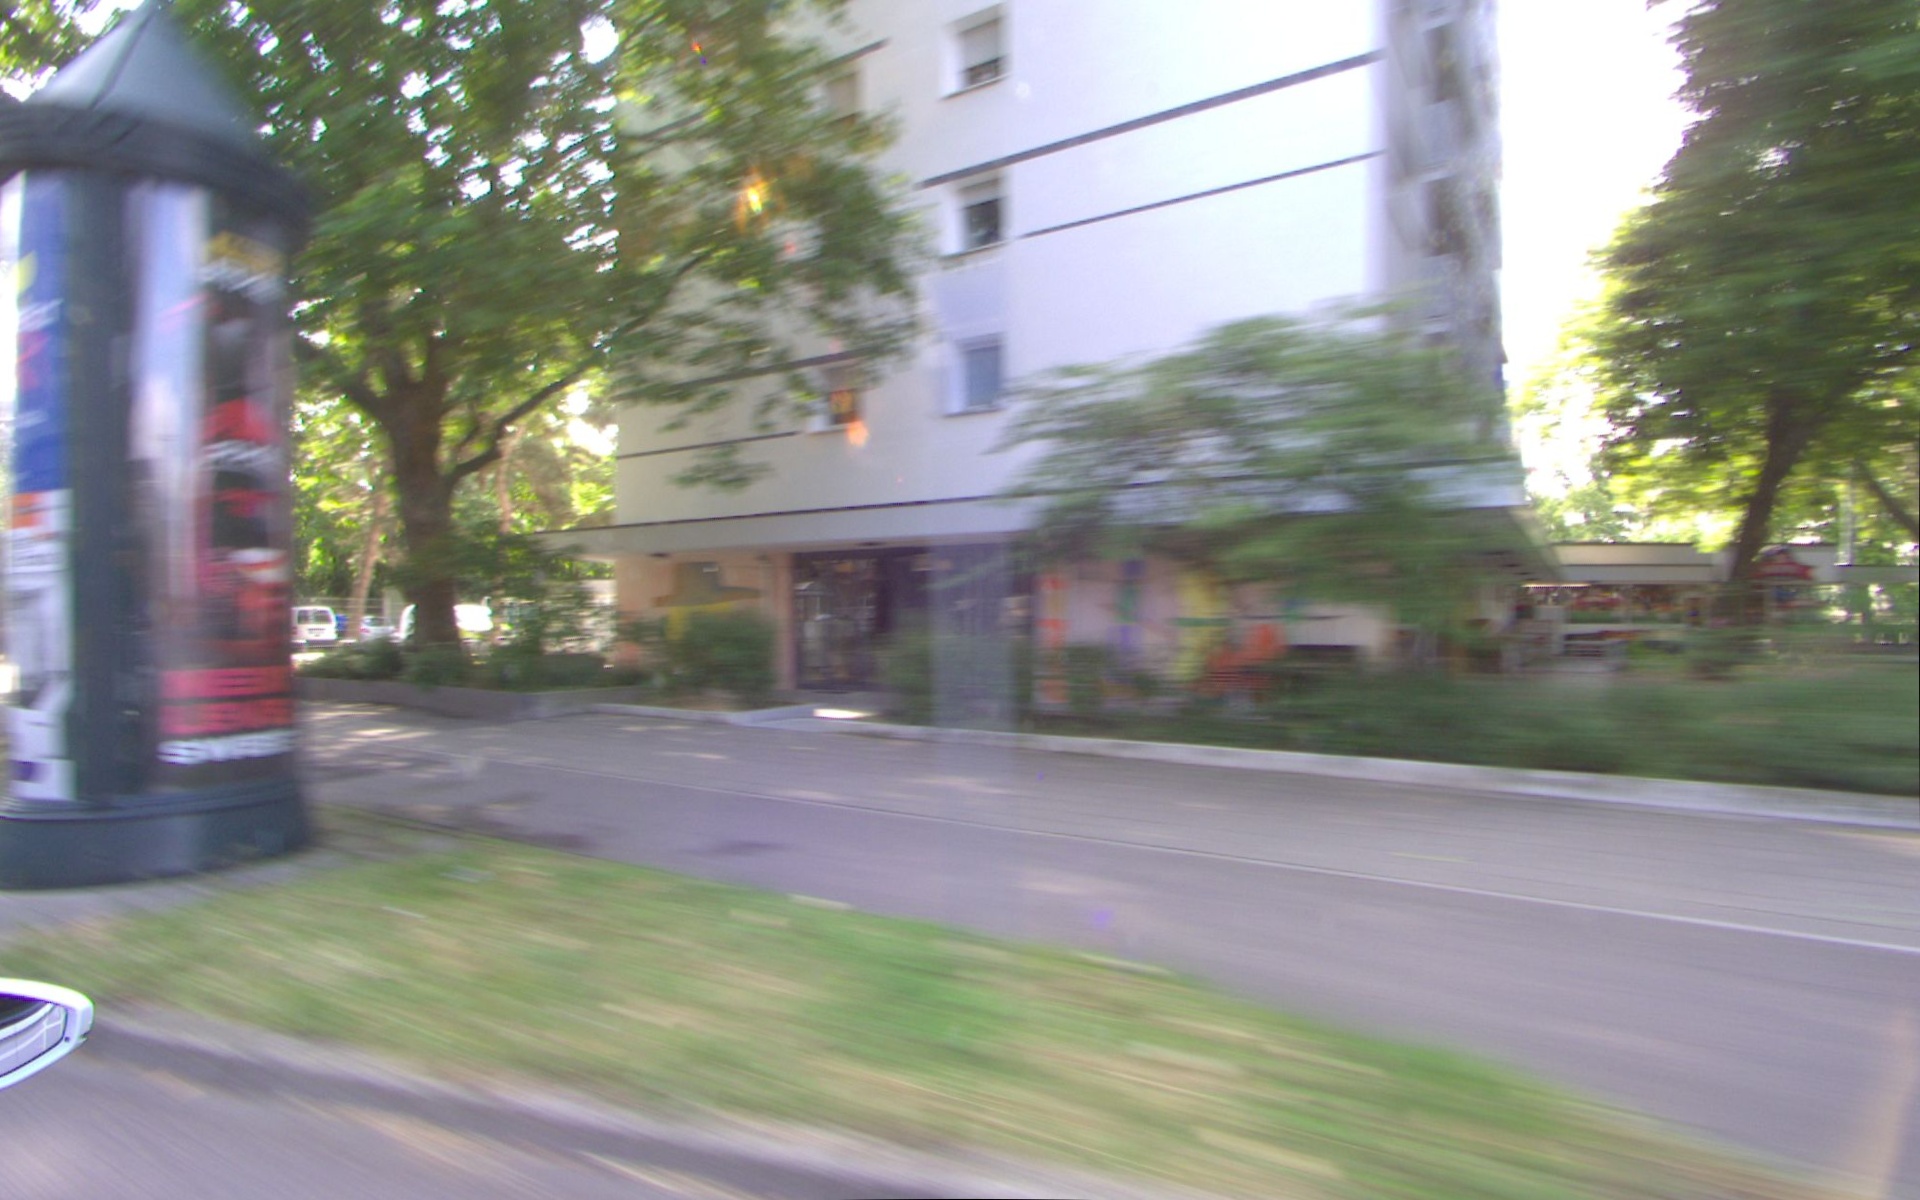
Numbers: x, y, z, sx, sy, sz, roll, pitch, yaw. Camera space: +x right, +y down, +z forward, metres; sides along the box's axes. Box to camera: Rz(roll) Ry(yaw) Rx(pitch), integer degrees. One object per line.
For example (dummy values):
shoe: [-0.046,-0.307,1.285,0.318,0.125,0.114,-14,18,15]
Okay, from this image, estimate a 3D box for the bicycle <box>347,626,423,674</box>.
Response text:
bicycle: [-13.601,1.169,23.681,1.808,1.087,0.606,0,0,24]

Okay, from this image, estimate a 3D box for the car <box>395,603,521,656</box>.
car: [-17.665,1.024,35.186,4.702,1.778,1.734,0,-1,31]

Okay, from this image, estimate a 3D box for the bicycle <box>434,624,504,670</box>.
bicycle: [-12.300,1.164,25.053,1.925,1.099,0.515,0,0,27]

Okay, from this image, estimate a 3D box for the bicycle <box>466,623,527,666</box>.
bicycle: [-12.084,1.149,26.091,1.699,1.079,0.515,0,0,27]

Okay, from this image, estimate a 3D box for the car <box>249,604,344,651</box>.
car: [-27.275,1.123,41.117,4.280,1.838,1.802,-1,-1,35]

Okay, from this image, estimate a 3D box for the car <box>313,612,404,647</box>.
car: [-26.092,1.263,43.410,3.990,1.420,1.804,-1,-1,33]

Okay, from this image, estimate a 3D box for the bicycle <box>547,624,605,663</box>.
bicycle: [-10.790,1.206,28.121,1.699,1.079,0.515,0,0,27]
